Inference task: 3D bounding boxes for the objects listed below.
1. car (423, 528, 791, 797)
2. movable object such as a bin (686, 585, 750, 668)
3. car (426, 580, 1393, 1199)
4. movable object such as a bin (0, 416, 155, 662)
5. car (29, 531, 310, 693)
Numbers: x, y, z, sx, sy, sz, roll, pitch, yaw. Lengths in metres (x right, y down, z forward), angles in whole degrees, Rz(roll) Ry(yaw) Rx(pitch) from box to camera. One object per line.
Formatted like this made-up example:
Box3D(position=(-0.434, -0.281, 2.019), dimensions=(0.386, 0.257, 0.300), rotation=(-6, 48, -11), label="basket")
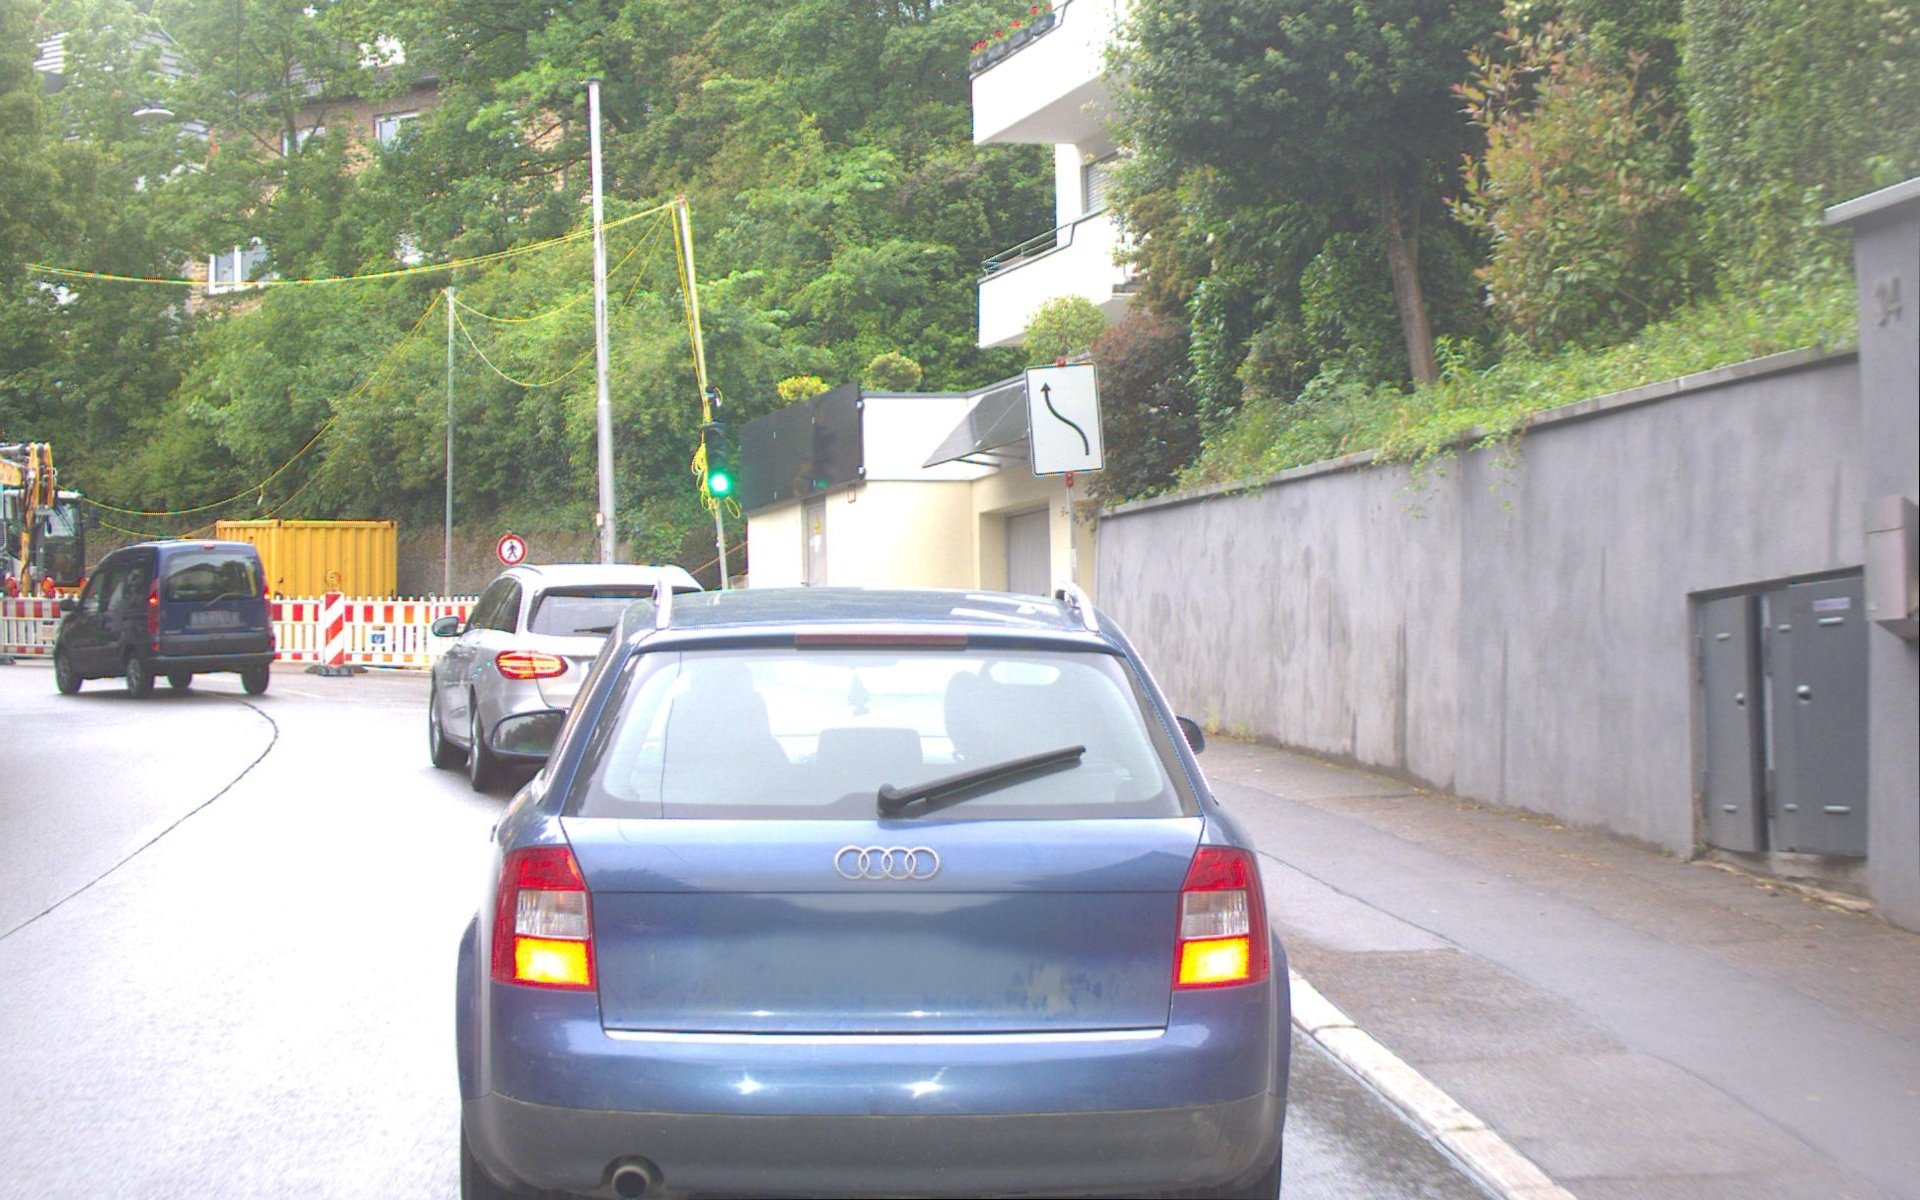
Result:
Box3D(position=(-2.484, 0.341, 23.187), dimensions=(1.925, 1.612, 4.322), rotation=(-1, 1, -13), label="car")
Box3D(position=(-3.078, 0.329, 43.663), dimensions=(0.719, 1.028, 0.592), rotation=(-1, 1, -10), label="movable object such as a bin")
Box3D(position=(-0.285, 0.693, 8.357), dimensions=(1.785, 1.437, 3.964), rotation=(1, 1, -6), label="car")
Box3D(position=(-16.441, -1.063, 59.754), dimensions=(2.819, 4.000, 7.327), rotation=(-1, 1, -29), label="movable object such as a bin")
Box3D(position=(-9.601, 0.137, 41.549), dimensions=(1.994, 1.787, 4.000), rotation=(-3, 1, -33), label="car")
